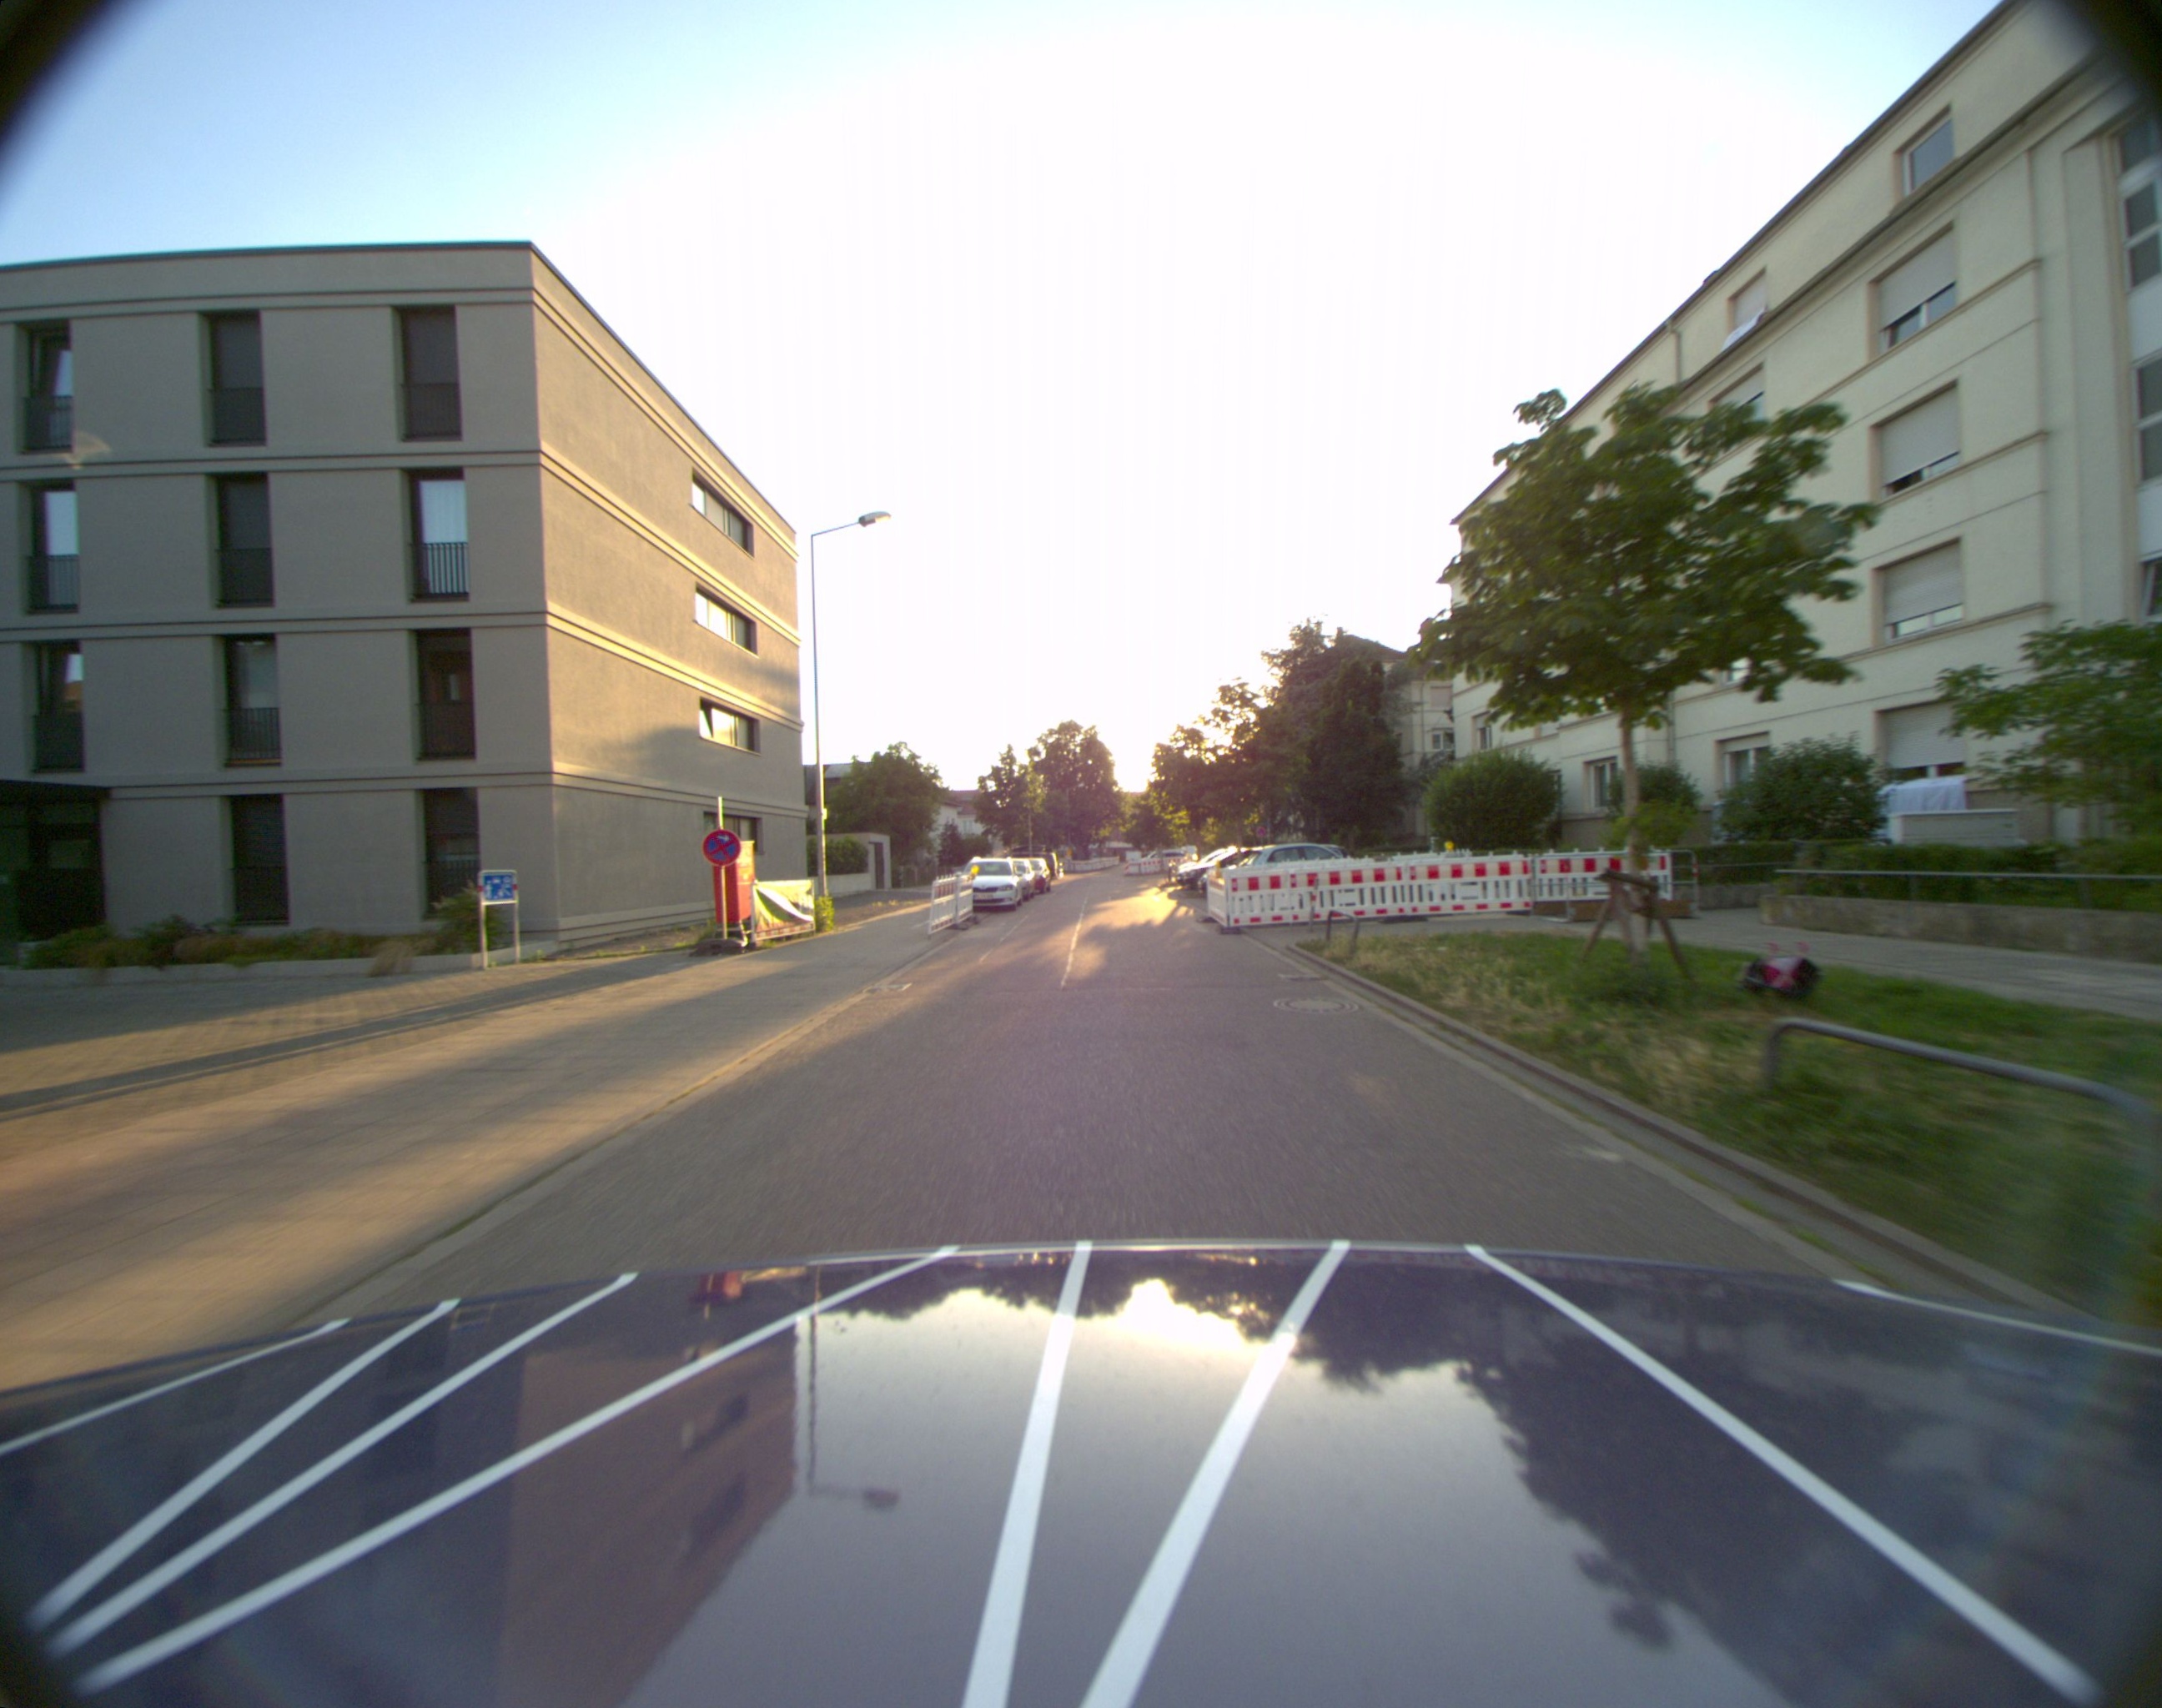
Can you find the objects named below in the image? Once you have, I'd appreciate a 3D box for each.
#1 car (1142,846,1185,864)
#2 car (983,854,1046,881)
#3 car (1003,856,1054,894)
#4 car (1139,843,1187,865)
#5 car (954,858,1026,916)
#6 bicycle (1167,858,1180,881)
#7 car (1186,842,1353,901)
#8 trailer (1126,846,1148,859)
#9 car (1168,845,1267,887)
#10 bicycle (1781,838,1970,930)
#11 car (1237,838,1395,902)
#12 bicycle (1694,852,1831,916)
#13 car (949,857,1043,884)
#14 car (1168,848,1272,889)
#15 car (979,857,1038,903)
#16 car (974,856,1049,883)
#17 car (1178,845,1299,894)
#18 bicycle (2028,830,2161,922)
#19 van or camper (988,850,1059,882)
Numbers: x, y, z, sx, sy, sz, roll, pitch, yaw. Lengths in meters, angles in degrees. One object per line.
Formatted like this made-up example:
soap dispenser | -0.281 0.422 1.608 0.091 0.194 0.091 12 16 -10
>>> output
car | 8.249 0.127 75.879 4.129 1.674 2.001 -2 0 6
car | -4.251 0.846 48.730 3.842 1.535 1.629 -2 1 0
car | -2.179 0.853 32.512 1.745 1.461 3.759 -2 0 2
car | 8.504 0.016 78.541 4.785 2.058 2.001 -2 1 6
car | -2.556 0.891 22.192 1.618 1.461 3.996 -2 0 -1
bicycle | 4.580 0.763 37.509 0.448 1.089 1.629 -2 1 1
car | 5.659 0.507 23.040 4.521 1.475 1.727 -3 0 -7
trailer | 10.343 -0.286 141.172 3.682 2.056 2.002 -3 0 15
car | 5.848 0.494 32.948 3.996 1.533 1.728 -3 0 3
bicycle | 11.229 0.418 10.779 2.033 1.179 0.540 -3 1 2
car | 6.324 0.418 20.751 3.709 1.475 1.728 -3 0 -1
bicycle | 11.588 0.503 12.943 1.925 0.986 0.360 -3 1 2
car | -4.564 0.858 41.241 4.829 1.390 1.770 -1 0 2
car | 5.505 0.572 30.449 3.851 1.376 1.607 -3 0 2
car | -2.535 0.889 27.463 1.802 1.461 3.843 -2 0 -1
car | -4.006 0.893 44.156 4.064 1.492 1.770 -1 0 4
car | 5.650 0.545 27.685 4.041 1.475 1.728 -3 0 3
bicycle | 14.578 0.290 10.601 2.033 1.179 0.490 -3 1 2
van or camper | -3.819 0.762 51.202 4.660 1.942 2.094 -2 1 -1
